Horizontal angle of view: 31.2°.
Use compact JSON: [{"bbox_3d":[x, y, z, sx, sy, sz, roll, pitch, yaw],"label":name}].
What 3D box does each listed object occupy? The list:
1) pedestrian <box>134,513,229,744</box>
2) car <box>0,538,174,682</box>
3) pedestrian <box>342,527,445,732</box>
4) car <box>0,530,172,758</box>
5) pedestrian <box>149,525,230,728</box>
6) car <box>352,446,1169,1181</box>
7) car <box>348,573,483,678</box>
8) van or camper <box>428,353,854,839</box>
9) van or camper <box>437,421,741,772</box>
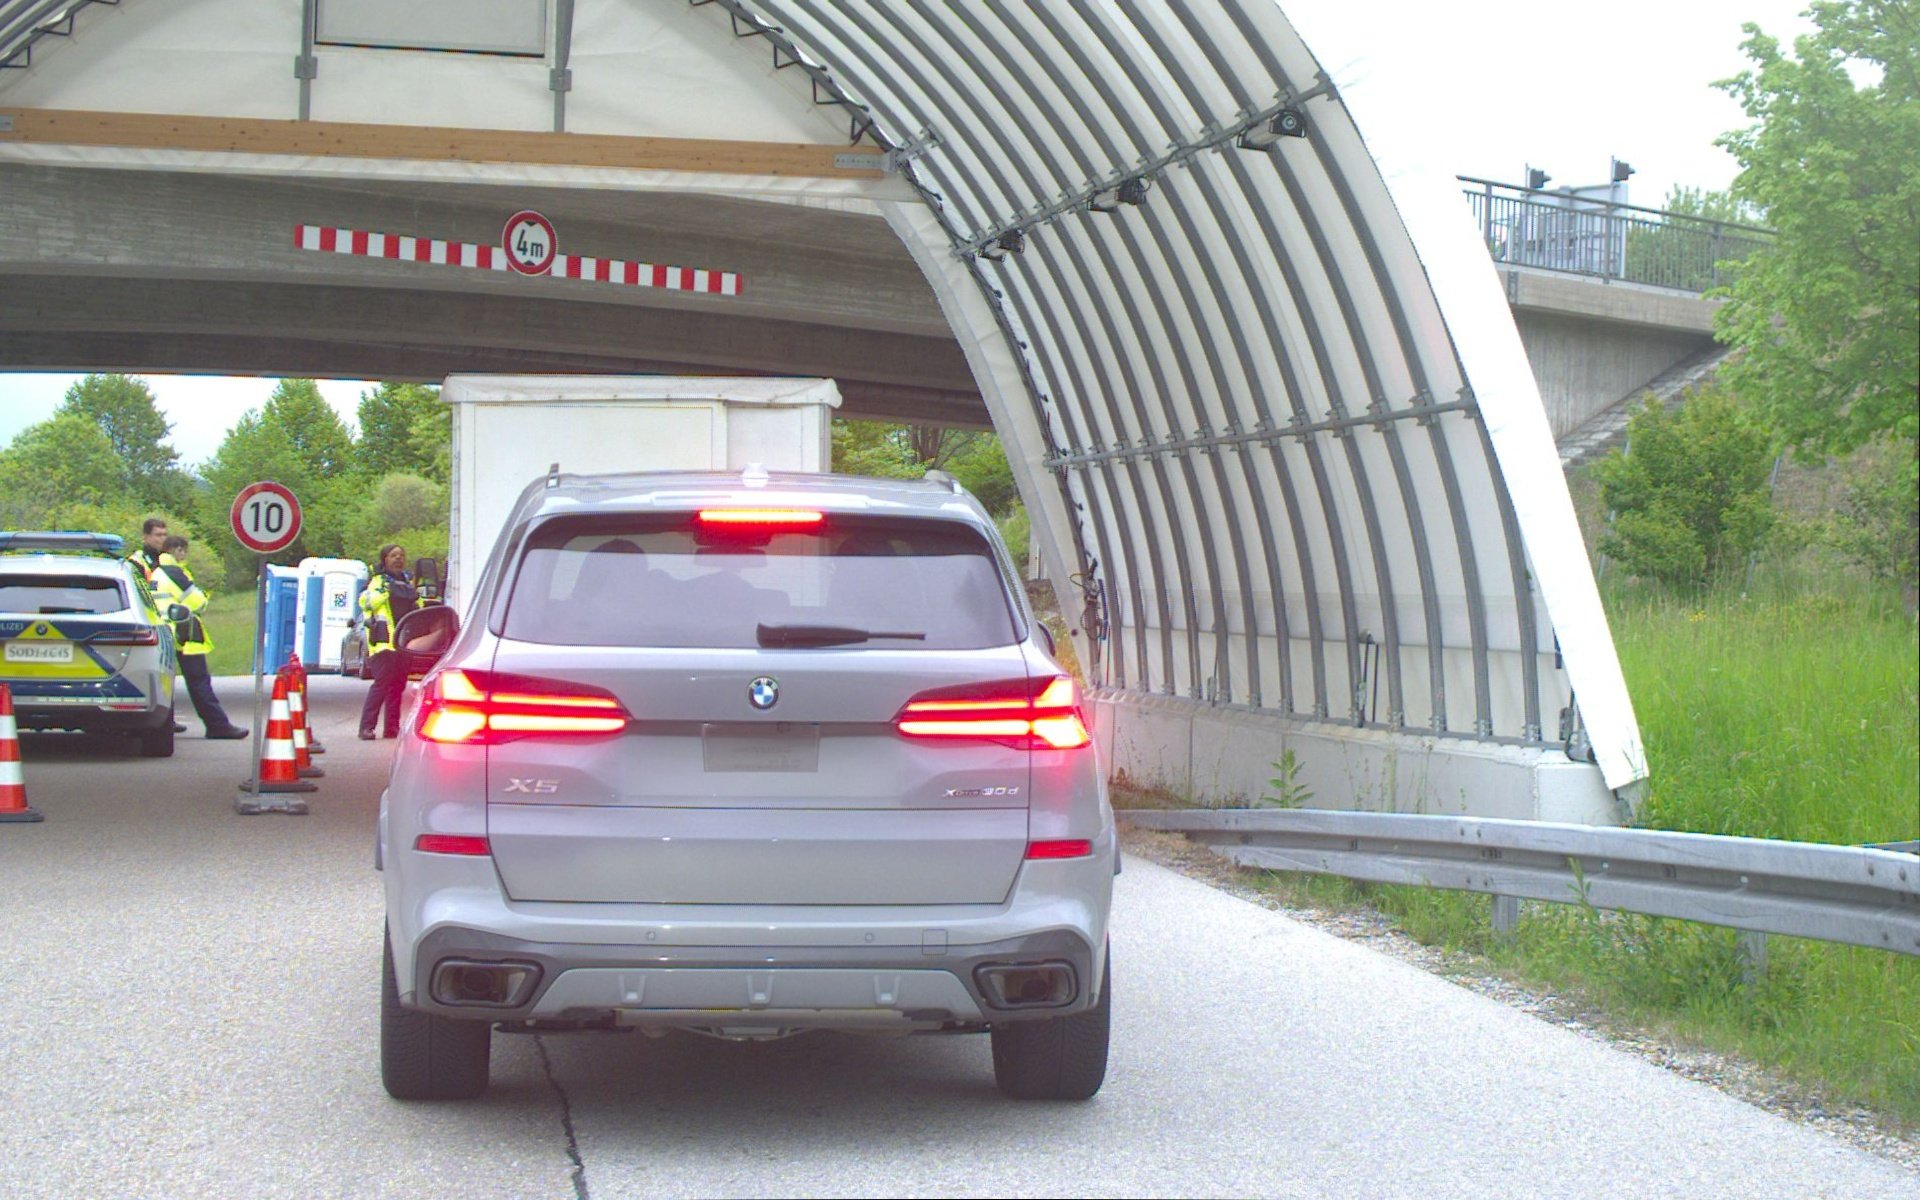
[{"bbox_3d":[-6.559,0.229,28.947,0.749,1.912,0.763,0,0,-15],"label":"pedestrian"},{"bbox_3d":[-13.852,0.127,49.060,4.807,2.007,1.840,0,0,7],"label":"car"},{"bbox_3d":[-4.809,0.241,29.161,0.754,1.716,0.782,0,0,-18],"label":"pedestrian"},{"bbox_3d":[-7.161,0.302,26.762,1.877,1.641,4.001,0,0,-15],"label":"car"},{"bbox_3d":[-6.734,0.224,30.056,0.609,1.748,0.666,0,0,-6],"label":"pedestrian"},{"bbox_3d":[-0.787,0.491,10.355,1.993,1.759,4.001,0,0,-9],"label":"car"},{"bbox_3d":[-9.279,0.397,58.412,1.993,1.716,3.897,0,0,-13],"label":"car"},{"bbox_3d":[-2.175,-0.053,21.417,2.229,2.543,6.612,0,0,-9],"label":"van or camper"},{"bbox_3d":[-3.083,-0.045,27.493,2.103,2.510,5.552,0,0,-9],"label":"van or camper"}]
